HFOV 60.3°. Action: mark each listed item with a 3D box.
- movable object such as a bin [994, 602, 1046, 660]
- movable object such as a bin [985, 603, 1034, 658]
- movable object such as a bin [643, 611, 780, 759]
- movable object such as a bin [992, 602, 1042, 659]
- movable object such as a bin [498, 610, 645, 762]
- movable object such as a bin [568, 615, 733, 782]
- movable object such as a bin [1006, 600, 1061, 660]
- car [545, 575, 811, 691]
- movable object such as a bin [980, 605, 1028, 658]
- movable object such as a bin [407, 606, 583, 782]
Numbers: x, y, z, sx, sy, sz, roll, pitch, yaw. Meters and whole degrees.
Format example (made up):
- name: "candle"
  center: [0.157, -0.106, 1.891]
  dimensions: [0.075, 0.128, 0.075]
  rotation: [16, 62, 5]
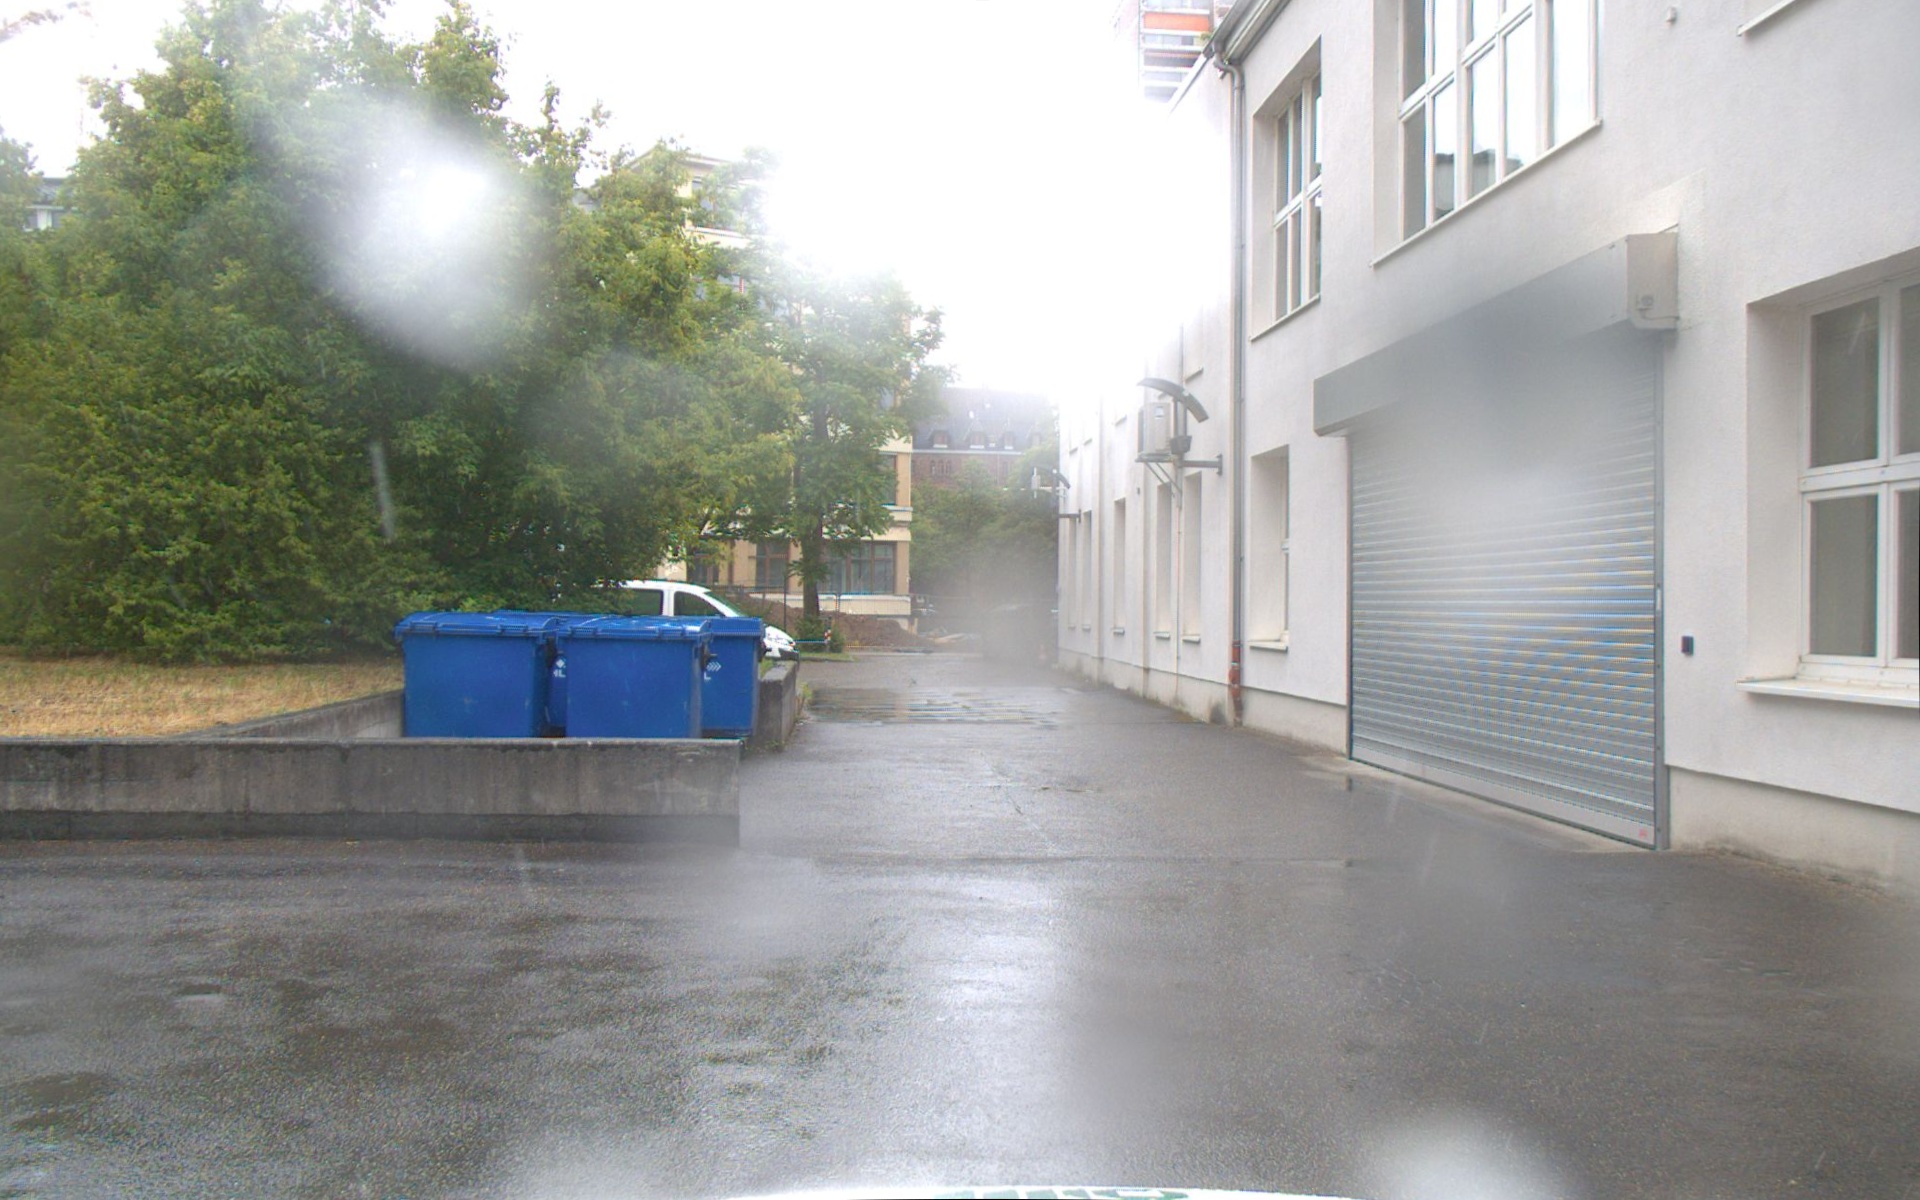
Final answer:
- name: "movable object such as a bin"
  center: [1.541, 0.809, 42.633]
  dimensions: [1.191, 1.462, 1.292]
  rotation: [1, -3, -6]
- name: "movable object such as a bin"
  center: [1.365, 0.857, 45.635]
  dimensions: [1.191, 1.462, 1.257]
  rotation: [1, -3, -6]
- name: "movable object such as a bin"
  center: [-2.365, 0.793, 15.874]
  dimensions: [1.197, 1.360, 1.006]
  rotation: [0, 0, -4]
- name: "movable object such as a bin"
  center: [1.523, 0.836, 44.268]
  dimensions: [1.191, 1.494, 1.234]
  rotation: [1, -3, -6]
- name: "movable object such as a bin"
  center: [-3.654, 0.794, 15.658]
  dimensions: [1.197, 1.360, 1.006]
  rotation: [0, 1, -4]
- name: "movable object such as a bin"
  center: [-2.610, 0.813, 14.114]
  dimensions: [1.178, 1.360, 1.117]
  rotation: [0, -1, 0]
- name: "movable object such as a bin"
  center: [1.808, 0.753, 40.947]
  dimensions: [1.191, 1.462, 1.234]
  rotation: [1, -3, -6]
- name: "car"
  center: [-5.202, 0.586, 31.004]
  dimensions: [4.685, 2.049, 1.999]
  rotation: [0, 0, -3]
- name: "movable object such as a bin"
  center: [1.245, 0.914, 47.006]
  dimensions: [1.191, 1.462, 1.257]
  rotation: [1, -3, -6]
- name: "movable object such as a bin"
  center: [-3.902, 0.770, 13.994]
  dimensions: [1.179, 1.360, 1.116]
  rotation: [2, 1, -4]
